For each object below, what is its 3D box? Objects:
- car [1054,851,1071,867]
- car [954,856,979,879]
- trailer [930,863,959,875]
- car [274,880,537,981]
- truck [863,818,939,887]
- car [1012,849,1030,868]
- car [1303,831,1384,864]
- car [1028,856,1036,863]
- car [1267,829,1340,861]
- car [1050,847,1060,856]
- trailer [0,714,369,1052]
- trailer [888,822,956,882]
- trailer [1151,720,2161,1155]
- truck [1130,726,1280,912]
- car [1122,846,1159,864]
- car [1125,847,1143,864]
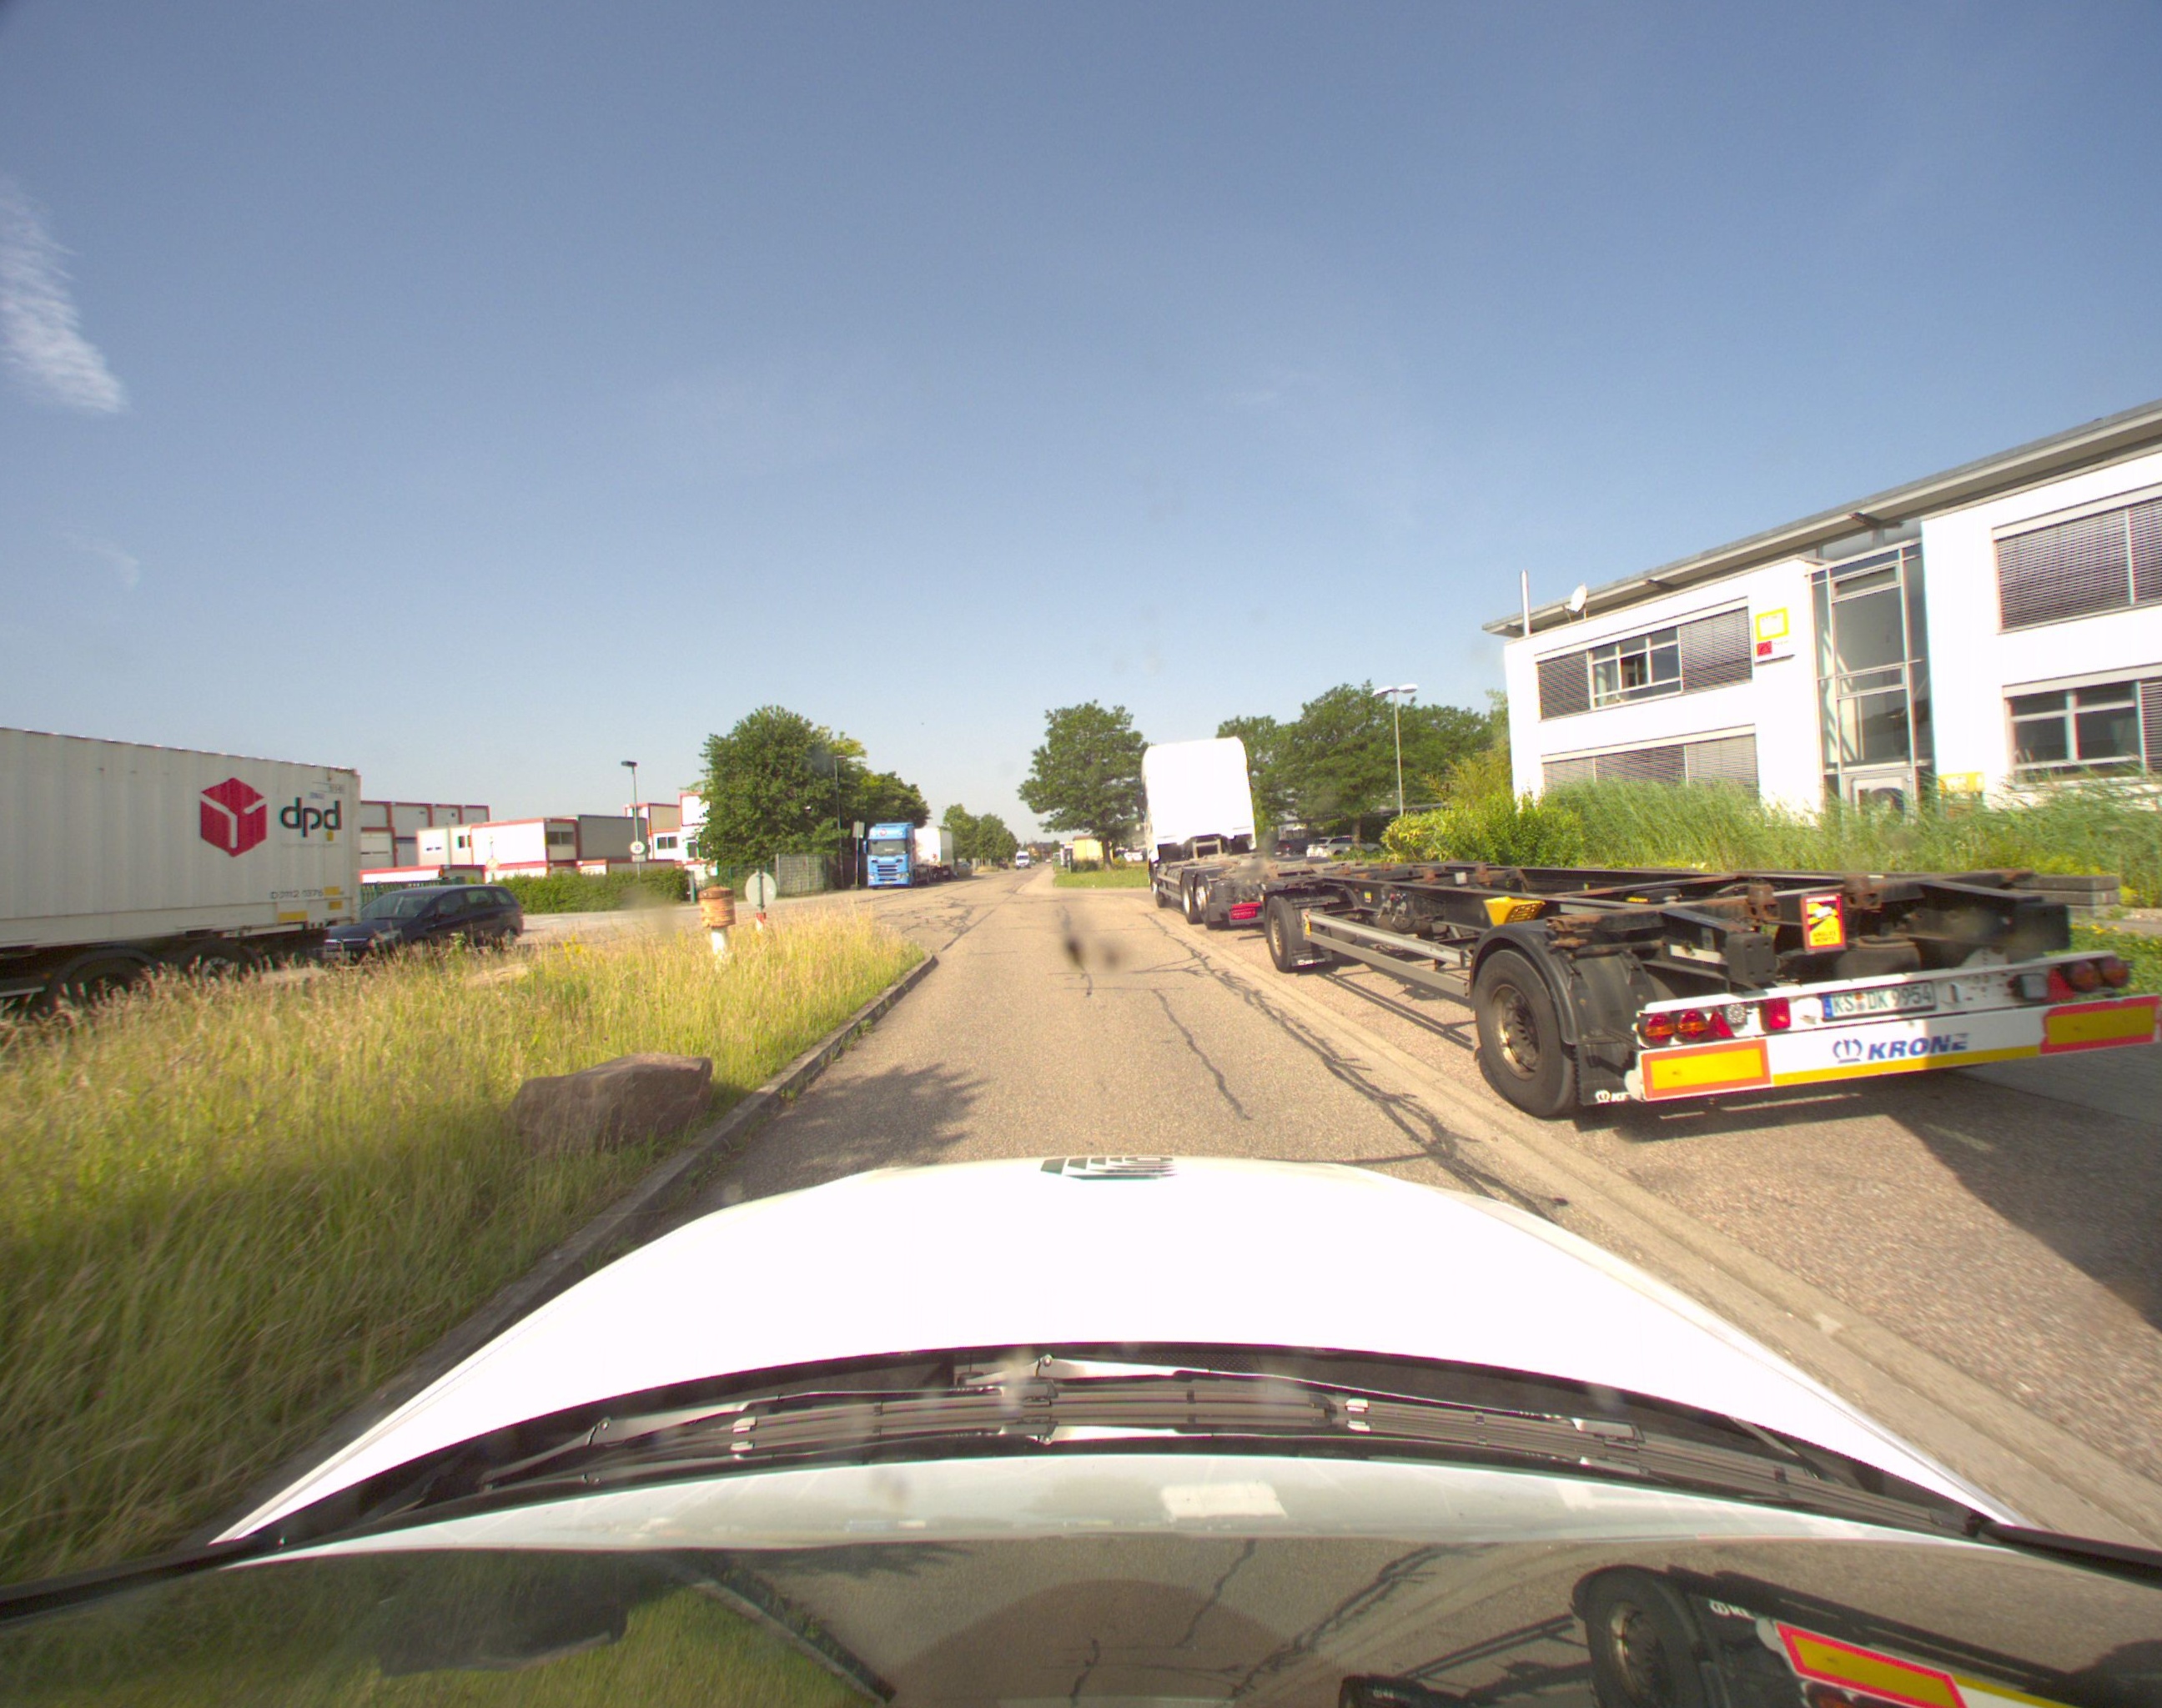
[{"bbox_3d":[-2.109,0.575,92.619,1.788,1.750,3.996,-2,-1,-2],"label":"car"},{"bbox_3d":[-10.827,1.234,76.998,1.995,2.013,3.984,-3,0,-11],"label":"car"},{"bbox_3d":[-11.426,1.247,68.594,1.892,0.760,3.996,-3,0,-3],"label":"trailer"},{"bbox_3d":[-14.241,1.509,17.619,1.989,1.641,4.582,-2,0,-4],"label":"car"},{"bbox_3d":[-11.066,-0.008,51.056,2.818,3.826,9.664,-2,-1,-2],"label":"truck"},{"bbox_3d":[-8.898,0.711,120.375,2.213,2.686,6.834,-2,-1,-8],"label":"car"},{"bbox_3d":[14.596,-0.375,45.243,4.092,1.701,1.752,-1,-1,-23],"label":"car"},{"bbox_3d":[-12.202,1.457,202.948,1.638,1.662,3.989,-2,-1,-8],"label":"car"},{"bbox_3d":[13.181,-0.525,48.197,4.015,1.767,1.979,-1,-1,-33],"label":"car"},{"bbox_3d":[-6.205,-0.583,193.701,1.772,1.815,3.984,-1,-1,-11],"label":"car"},{"bbox_3d":[-13.935,0.392,10.685,2.693,3.922,7.568,-2,-1,-2],"label":"trailer"},{"bbox_3d":[-11.342,-0.041,59.350,2.824,3.843,12.026,-2,-1,-2],"label":"trailer"},{"bbox_3d":[3.285,0.345,11.538,2.738,1.573,16.162,-6,0,-1],"label":"trailer"},{"bbox_3d":[2.952,-0.815,20.592,2.739,3.981,3.998,-6,0,-2],"label":"truck"},{"bbox_3d":[4.741,0.110,65.475,1.672,1.330,3.641,-1,-1,-18],"label":"car"},{"bbox_3d":[5.429,0.175,83.523,1.711,1.618,4.001,-2,-1,2],"label":"car"}]
